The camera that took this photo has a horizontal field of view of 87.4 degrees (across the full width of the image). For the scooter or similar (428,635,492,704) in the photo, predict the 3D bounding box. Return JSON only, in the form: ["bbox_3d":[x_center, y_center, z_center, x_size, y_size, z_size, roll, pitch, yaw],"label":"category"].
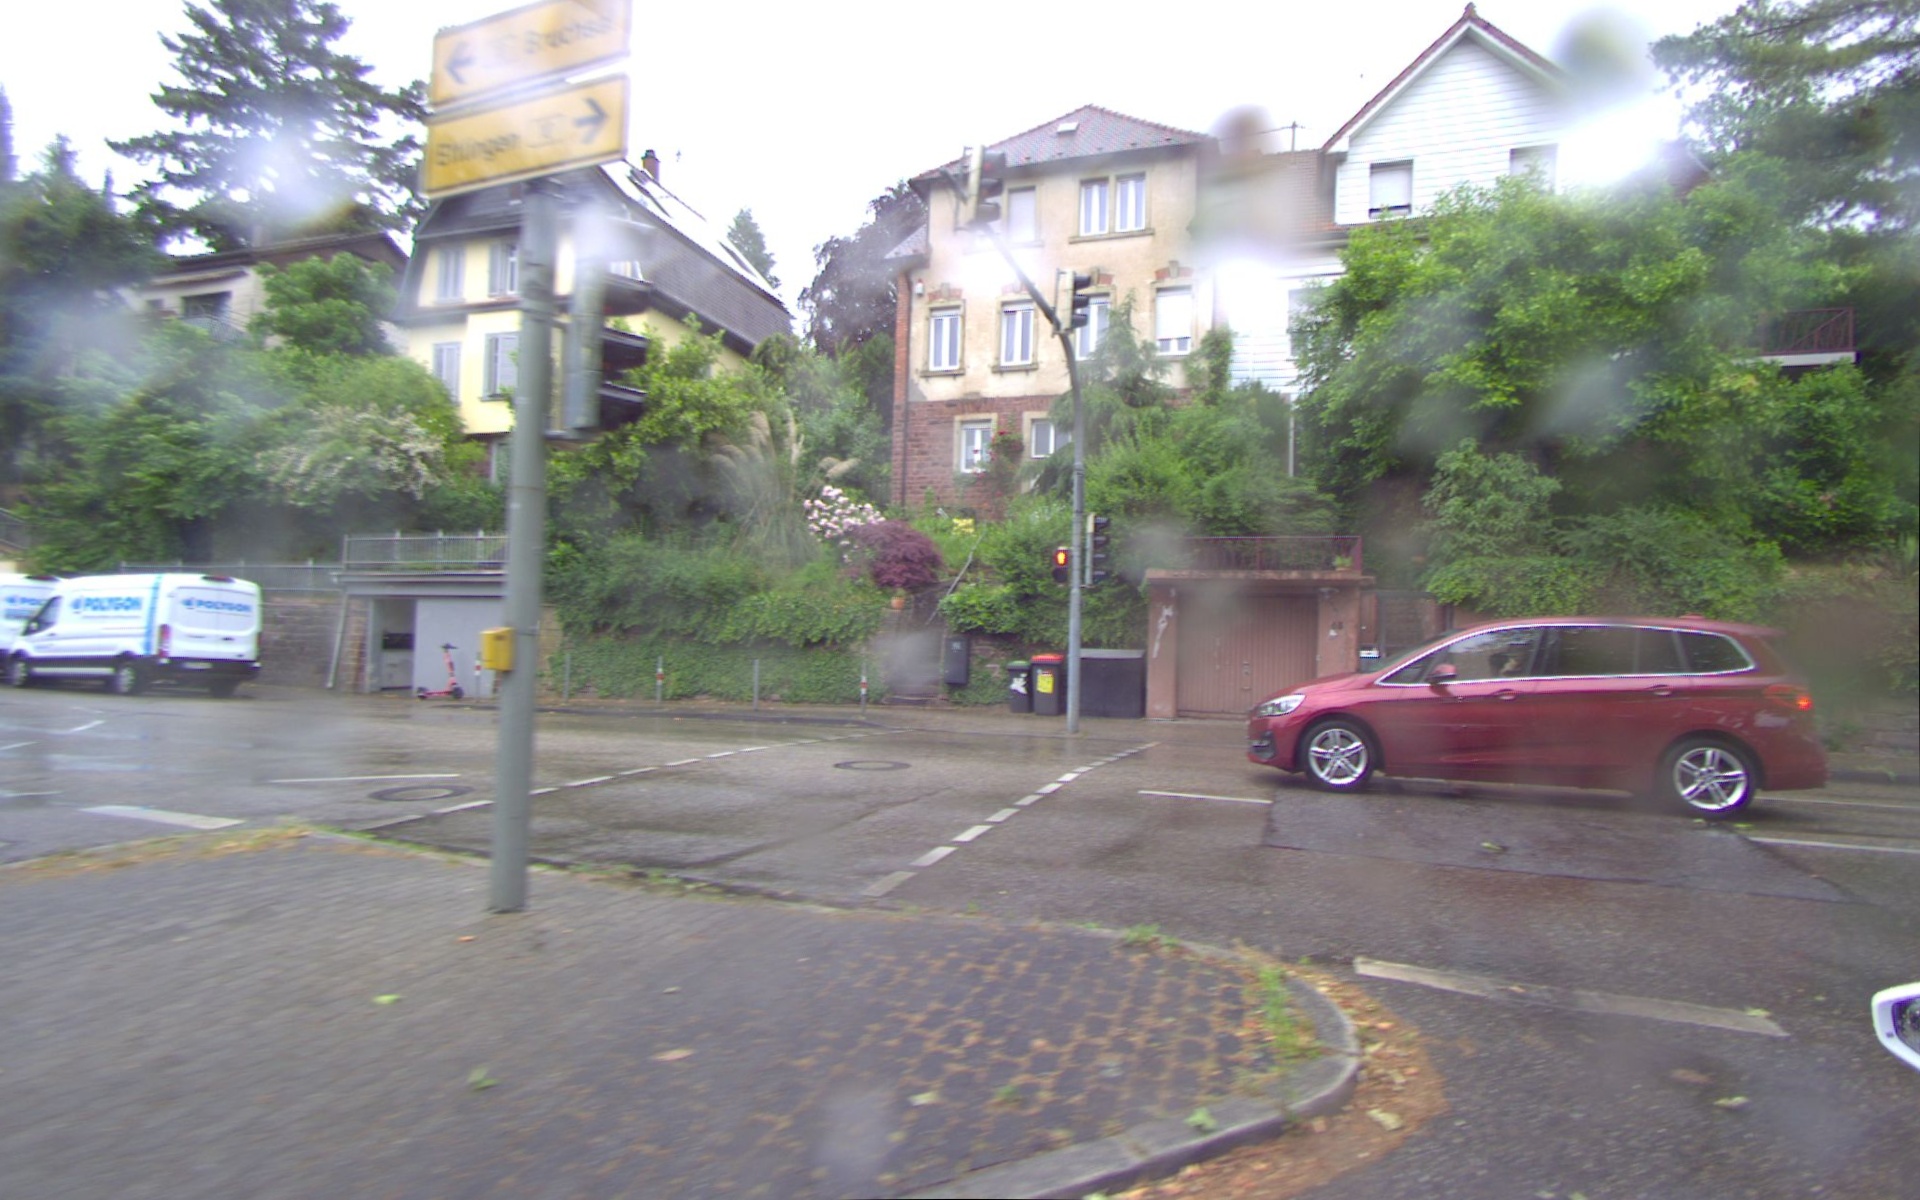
[{"bbox_3d":[-10.040,1.403,20.209,1.078,1.352,0.459,2,-3,-23],"label":"scooter or similar"}]

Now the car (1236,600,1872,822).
[{"bbox_3d":[4.871,0.886,8.994,4.493,1.621,1.775,-1,-3,21],"label":"car"}]

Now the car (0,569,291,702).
[{"bbox_3d":[-17.706,0.734,21.870,5.568,2.526,2.316,2,-2,21],"label":"car"}]

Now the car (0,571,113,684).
[{"bbox_3d":[-23.570,0.603,24.227,5.471,2.526,2.316,2,-2,21],"label":"car"}]
